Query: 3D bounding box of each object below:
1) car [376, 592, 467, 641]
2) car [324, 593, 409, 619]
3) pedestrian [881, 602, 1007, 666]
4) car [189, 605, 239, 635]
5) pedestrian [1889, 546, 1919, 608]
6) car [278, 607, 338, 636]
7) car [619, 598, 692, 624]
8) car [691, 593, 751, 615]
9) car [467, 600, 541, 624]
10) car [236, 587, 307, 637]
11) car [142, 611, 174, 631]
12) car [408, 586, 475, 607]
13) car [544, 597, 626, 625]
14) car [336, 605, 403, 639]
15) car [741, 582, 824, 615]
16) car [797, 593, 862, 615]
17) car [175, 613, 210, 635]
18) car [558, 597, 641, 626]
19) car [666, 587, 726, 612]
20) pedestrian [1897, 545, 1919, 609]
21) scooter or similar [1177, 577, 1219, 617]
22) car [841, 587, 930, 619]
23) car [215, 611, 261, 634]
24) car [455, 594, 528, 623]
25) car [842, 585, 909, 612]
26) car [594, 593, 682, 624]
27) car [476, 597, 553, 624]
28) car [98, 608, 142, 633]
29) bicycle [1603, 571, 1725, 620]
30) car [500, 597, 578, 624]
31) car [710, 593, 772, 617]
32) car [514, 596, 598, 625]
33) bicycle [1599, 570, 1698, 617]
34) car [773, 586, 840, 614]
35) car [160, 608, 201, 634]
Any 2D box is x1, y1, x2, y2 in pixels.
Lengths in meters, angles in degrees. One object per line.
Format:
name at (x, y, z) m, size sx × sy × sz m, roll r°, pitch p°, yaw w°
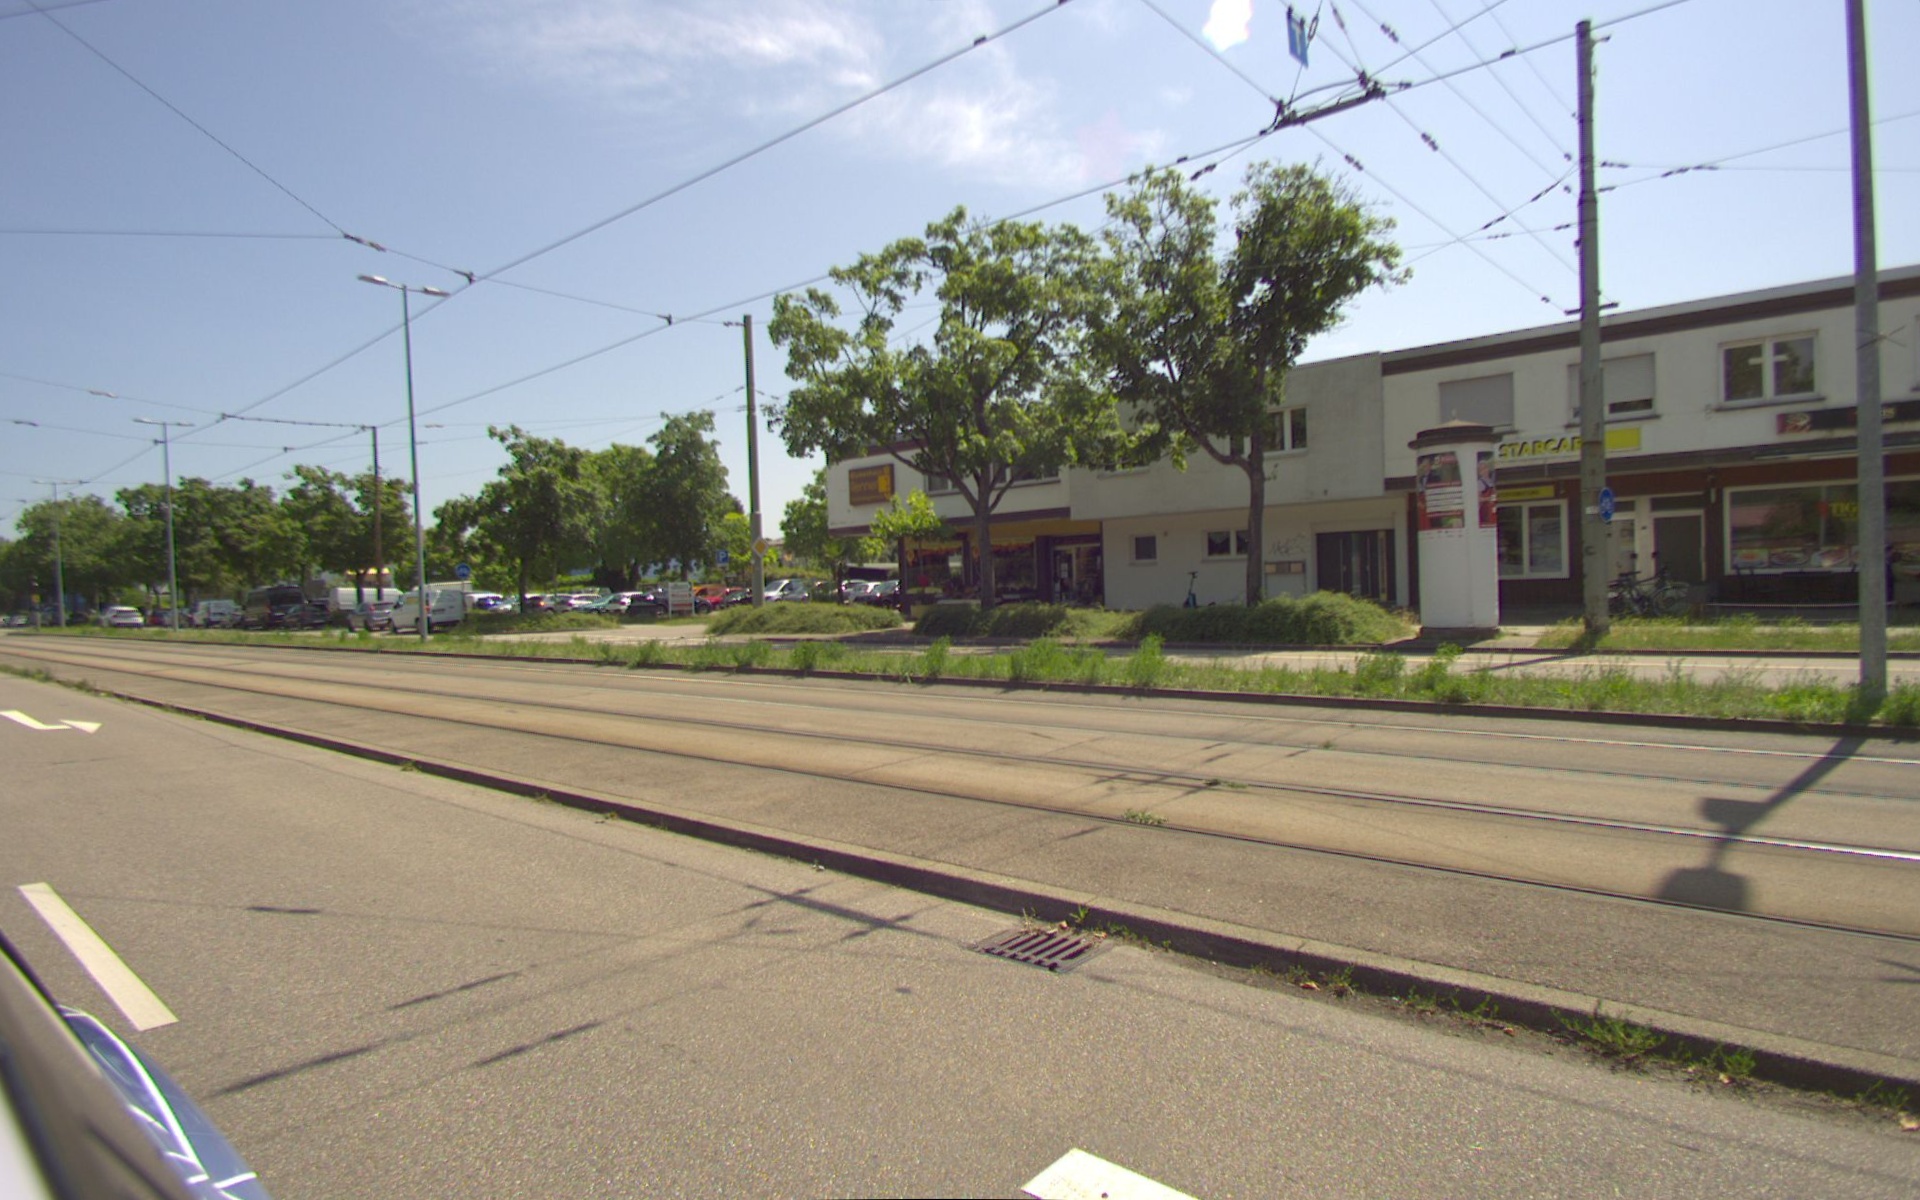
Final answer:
car at (-24.857, 0.742, 46.661) m, size 5.342 × 2.025 × 1.856 m, roll -1°, pitch 4°, yaw 42°
car at (-46.034, 0.452, 78.558) m, size 2.029 × 1.970 × 5.363 m, roll 0°, pitch 0°, yaw 42°
pedestrian at (-0.568, 1.094, 34.486) m, size 3.997 × 2.029 × 1.973 m, roll 0°, pitch 0°, yaw 40°
car at (-52.091, 1.378, 70.626) m, size 4.816 × 1.963 × 1.899 m, roll 0°, pitch 0°, yaw 42°
pedestrian at (20.040, -0.472, 21.194) m, size 0.842 × 1.278 × 0.583 m, roll 0°, pitch 0°, yaw 41°
car at (-36.973, 1.182, 57.363) m, size 3.751 × 1.589 × 1.950 m, roll 0°, pitch 0°, yaw 42°
car at (-15.764, 0.553, 52.513) m, size 1.639 × 1.241 × 3.386 m, roll -1°, pitch 1°, yaw 34°
car at (-16.789, 0.243, 71.216) m, size 1.712 × 1.505 × 3.953 m, roll 0°, pitch 0°, yaw 35°
car at (-29.187, 0.760, 64.825) m, size 1.794 × 1.417 × 3.950 m, roll -1°, pitch 0°, yaw 37°
car at (-41.851, 0.696, 61.462) m, size 5.666 × 2.859 × 2.214 m, roll 0°, pitch 0°, yaw 42°
car at (-64.786, 1.666, 81.746) m, size 3.423 × 1.491 × 1.561 m, roll 0°, pitch 0°, yaw 43°
car at (-52.431, -0.345, 102.364) m, size 2.145 × 2.078 × 5.674 m, roll 0°, pitch 0°, yaw 38°
car at (-21.365, 0.592, 57.826) m, size 1.855 × 1.501 × 4.099 m, roll 0°, pitch 0°, yaw 34°
car at (-29.712, 1.084, 50.895) m, size 4.124 × 1.513 × 1.633 m, roll -1°, pitch 4°, yaw 42°
car at (-11.465, -0.122, 65.540) m, size 2.225 × 2.085 × 5.055 m, roll 0°, pitch 0°, yaw 41°
car at (-7.957, 0.241, 61.741) m, size 1.764 × 1.294 × 3.675 m, roll 0°, pitch 0°, yaw 43°
car at (-56.382, 1.749, 74.346) m, size 3.261 × 1.489 × 1.411 m, roll 0°, pitch 0°, yaw 41°
car at (-19.832, 0.613, 55.831) m, size 1.908 × 1.501 × 3.995 m, roll 0°, pitch 0°, yaw 34°
car at (-18.836, -0.054, 72.331) m, size 1.689 × 1.665 × 4.082 m, roll -1°, pitch 0°, yaw 35°
pedestrian at (19.626, -0.466, 20.550) m, size 0.842 × 1.278 × 0.583 m, roll 0°, pitch 0°, yaw 41°
scooter or similar at (7.306, -0.088, 31.075) m, size 0.448 × 1.200 × 1.349 m, roll -1°, pitch 0°, yaw -29°
car at (-3.380, 0.133, 46.501) m, size 1.682 × 1.306 × 3.944 m, roll -2°, pitch 0°, yaw 42°
car at (-47.746, 1.454, 66.933) m, size 3.608 × 1.475 × 1.744 m, roll 0°, pitch 0°, yaw 42°
car at (-30.919, 0.566, 66.899) m, size 1.794 × 1.730 × 3.951 m, roll -1°, pitch 1°, yaw 37°
car at (-5.057, -0.108, 60.762) m, size 1.661 × 1.531 × 3.943 m, roll 0°, pitch 0°, yaw 43°
car at (-17.337, 0.438, 54.639) m, size 1.983 × 1.501 × 4.120 m, roll -1°, pitch 1°, yaw 39°
car at (-27.507, 0.639, 62.535) m, size 1.862 × 1.499 × 3.955 m, roll -1°, pitch 1°, yaw 34°
car at (-58.285, 1.379, 70.190) m, size 4.569 × 1.622 × 1.705 m, roll 0°, pitch 0°, yaw 42°
bicycle at (14.598, -0.087, 21.028) m, size 2.028 × 0.986 × 0.604 m, roll 0°, pitch 0°, yaw 41°
car at (-25.393, 0.613, 61.178) m, size 1.827 × 1.501 × 4.030 m, roll -1°, pitch 1°, yaw 34°
car at (-14.936, 0.304, 69.177) m, size 1.683 × 1.597 × 3.948 m, roll 0°, pitch 0°, yaw 39°
car at (-23.518, 0.595, 59.010) m, size 2.018 × 1.501 × 4.117 m, roll -1°, pitch 1°, yaw 34°
bicycle at (15.179, -0.136, 22.330) m, size 1.758 × 0.986 × 0.533 m, roll 0°, pitch 0°, yaw 41°
car at (-9.683, -0.008, 63.892) m, size 1.804 × 1.669 × 3.943 m, roll 0°, pitch 0°, yaw 43°
car at (-59.798, 1.578, 77.583) m, size 4.494 × 1.907 × 1.614 m, roll 0°, pitch 0°, yaw 41°
